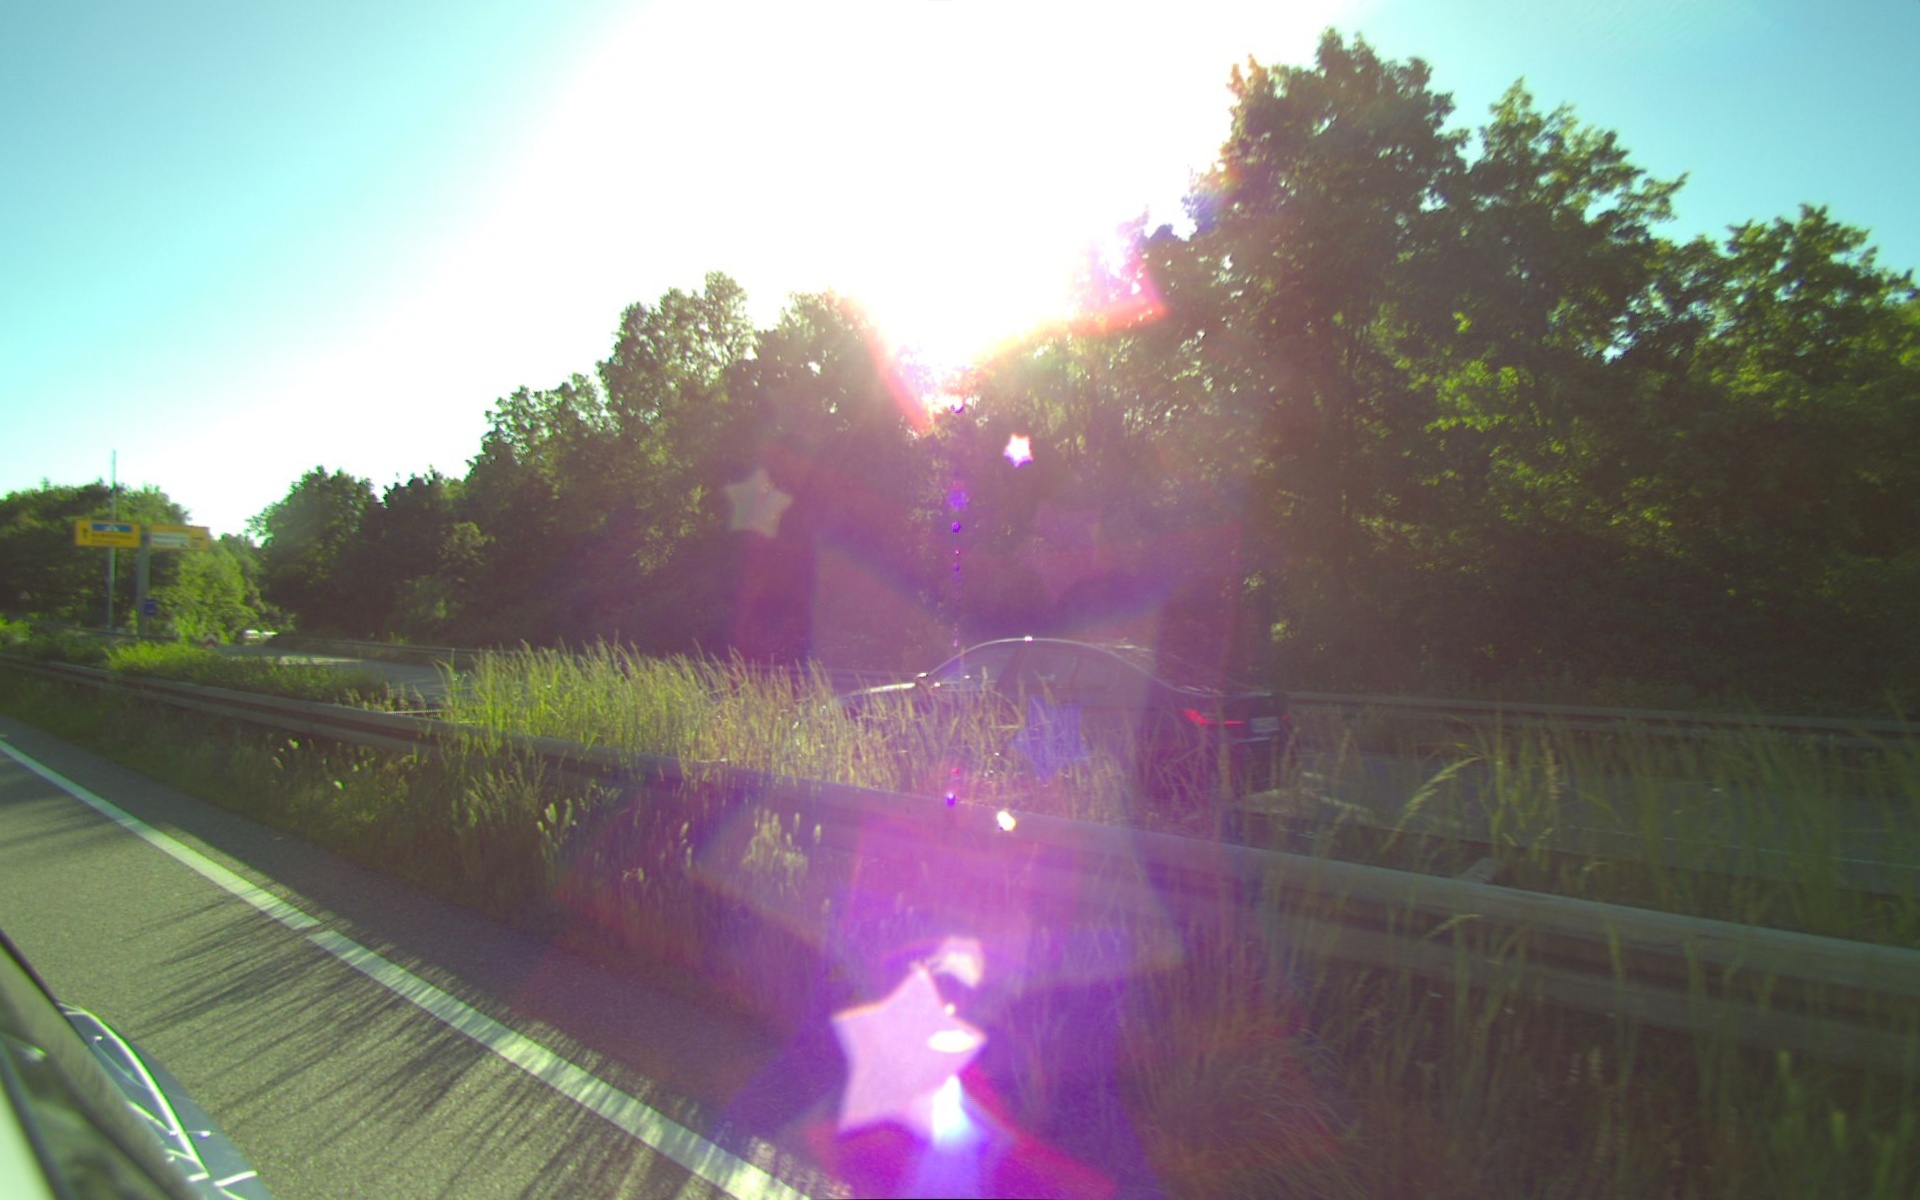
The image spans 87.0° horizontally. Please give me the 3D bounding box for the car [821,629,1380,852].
[{"bbox_3d":[0.959,0.961,8.655,4.552,1.414,1.762,-1,-2,42],"label":"car"}]
